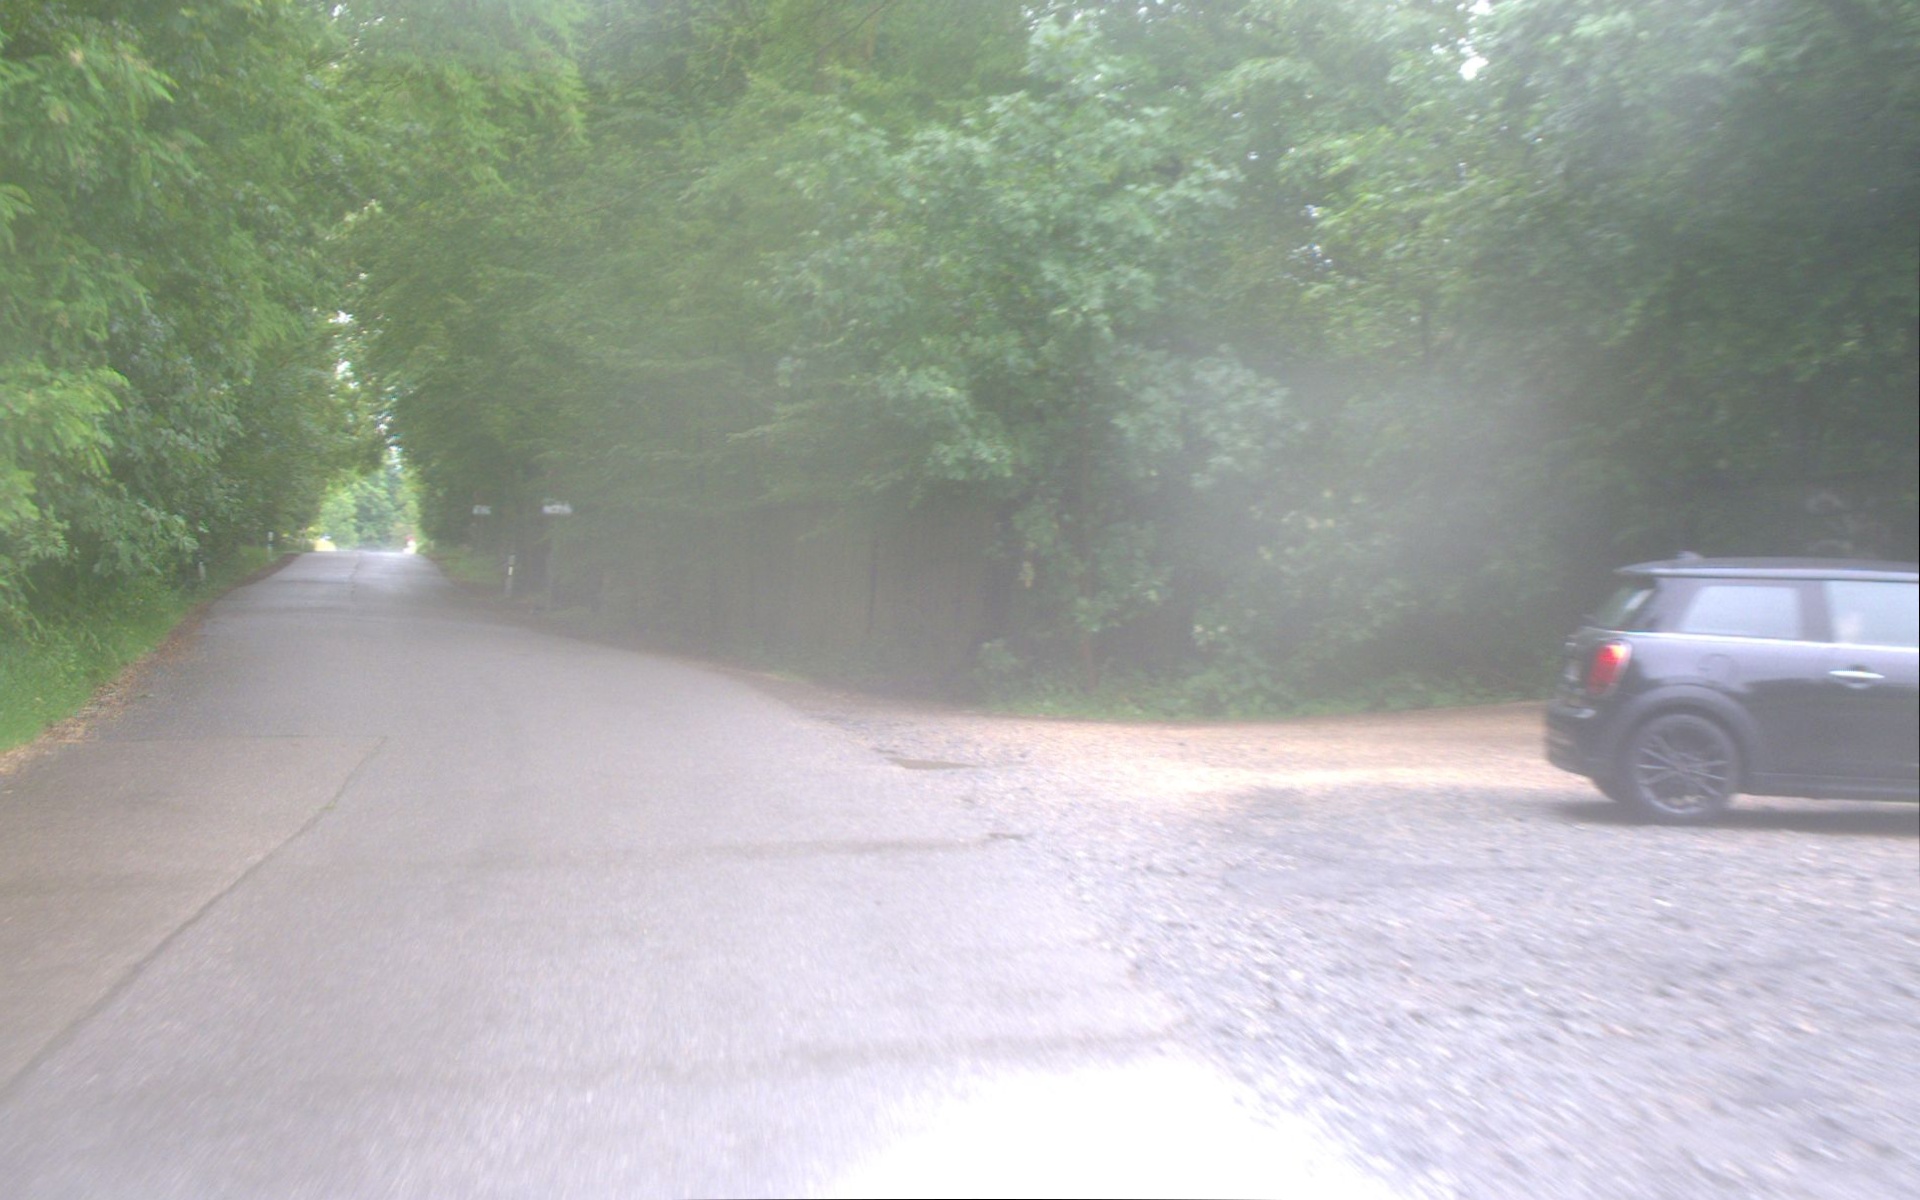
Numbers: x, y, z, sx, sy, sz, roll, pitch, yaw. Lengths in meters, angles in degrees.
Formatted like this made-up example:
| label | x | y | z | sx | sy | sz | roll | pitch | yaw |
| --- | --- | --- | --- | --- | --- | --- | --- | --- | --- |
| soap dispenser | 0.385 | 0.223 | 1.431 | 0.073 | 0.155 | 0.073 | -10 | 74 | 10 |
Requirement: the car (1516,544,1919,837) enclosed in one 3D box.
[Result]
| label | x | y | z | sx | sy | sz | roll | pitch | yaw |
| --- | --- | --- | --- | --- | --- | --- | --- | --- | --- |
| car | 5.037 | 0.505 | 18.715 | 3.707 | 1.431 | 1.707 | 3 | 1 | 1 |
